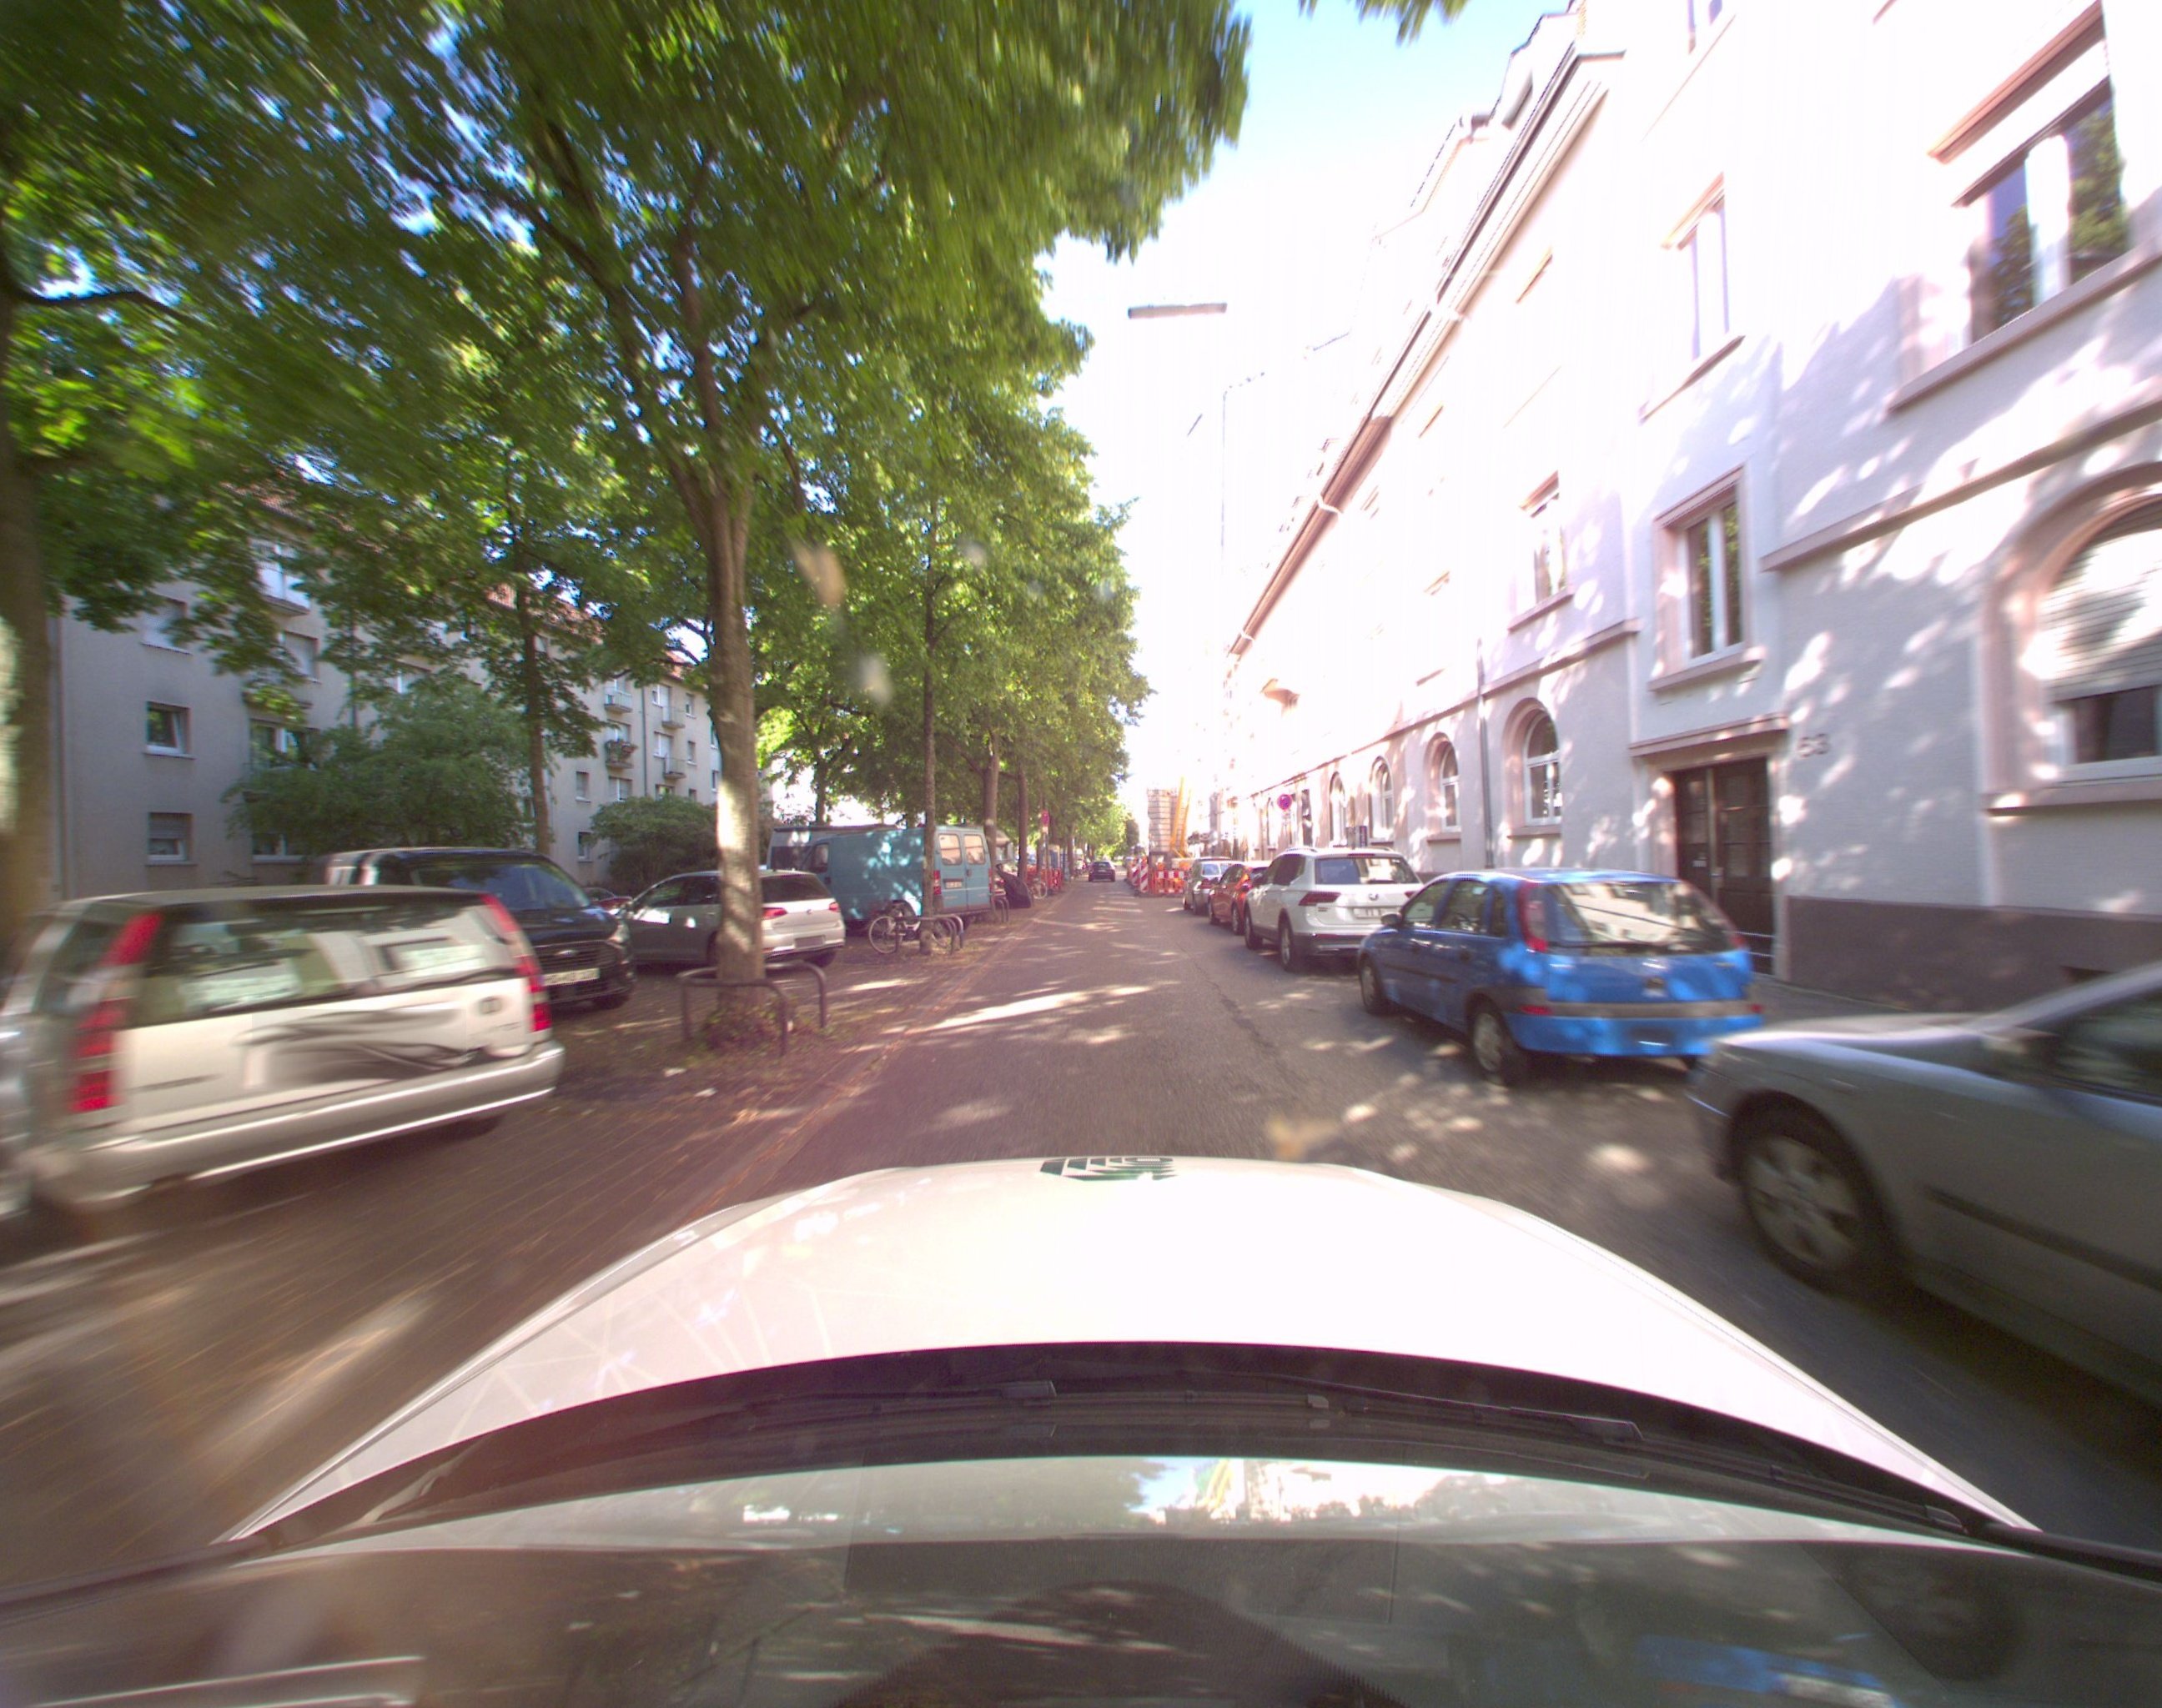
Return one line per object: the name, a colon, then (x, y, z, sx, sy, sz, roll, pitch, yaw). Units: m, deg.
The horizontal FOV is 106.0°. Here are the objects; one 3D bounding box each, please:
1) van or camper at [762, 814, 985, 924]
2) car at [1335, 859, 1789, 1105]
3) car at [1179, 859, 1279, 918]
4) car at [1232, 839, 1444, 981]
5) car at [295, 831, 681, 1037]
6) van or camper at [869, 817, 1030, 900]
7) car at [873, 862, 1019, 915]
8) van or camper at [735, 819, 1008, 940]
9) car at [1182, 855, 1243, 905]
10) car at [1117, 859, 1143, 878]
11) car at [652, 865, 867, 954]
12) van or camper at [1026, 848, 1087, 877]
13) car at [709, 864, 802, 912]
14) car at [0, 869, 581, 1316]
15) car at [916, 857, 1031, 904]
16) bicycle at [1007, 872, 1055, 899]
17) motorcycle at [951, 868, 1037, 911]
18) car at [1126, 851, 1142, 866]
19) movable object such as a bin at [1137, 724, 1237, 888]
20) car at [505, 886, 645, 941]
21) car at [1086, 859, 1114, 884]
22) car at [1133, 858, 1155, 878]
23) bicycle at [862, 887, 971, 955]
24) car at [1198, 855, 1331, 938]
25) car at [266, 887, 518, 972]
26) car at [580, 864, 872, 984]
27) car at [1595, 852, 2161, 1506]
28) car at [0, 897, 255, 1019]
van or camper: (-5.633, 0.437, 21.820, 5.811, 2.637, 2.269, -2, 0, 31)
car: (3.461, 0.776, 6.766, 1.611, 1.413, 3.789, -2, 0, 2)
car: (3.972, 0.878, 22.619, 1.987, 1.409, 4.501, -1, 0, 1)
car: (3.551, 0.682, 12.213, 1.809, 1.674, 4.675, -2, 0, 2)
car: (-6.607, 0.733, 8.937, 4.501, 1.764, 1.822, -2, 0, 32)
van or camper: (-5.681, 0.263, 34.935, 6.592, 3.241, 2.511, -2, 0, 30)
car: (-4.006, 1.027, 24.121, 3.915, 1.414, 1.834, -2, -1, 29)
van or camper: (-4.542, 0.567, 17.539, 5.447, 2.275, 2.233, -2, 0, 25)
car: (4.331, 0.832, 27.176, 1.586, 1.531, 2.781, -1, 0, 1)
car: (3.772, 1.106, 63.072, 1.791, 1.385, 3.586, -2, 0, 1)
car: (-6.097, 0.988, 15.335, 3.947, 1.431, 1.732, -2, 0, 32)
van or camper: (-2.298, 0.824, 76.531, 5.280, 2.474, 2.308, -2, 0, 34)
car: (-14.034, 1.420, 35.488, 1.810, 1.803, 4.849, -3, 0, 3)
car: (-4.898, 0.871, 4.688, 4.431, 1.443, 1.743, -2, 0, 34)
car: (-4.074, 1.002, 30.923, 3.916, 1.629, 1.834, -2, -1, 27)
bicycle: (-1.969, 1.240, 32.119, 1.879, 1.006, 0.433, -2, -1, 25)
motorcycle: (-2.722, 1.120, 25.685, 2.534, 1.258, 0.765, -2, -1, 9)
car: (6.736, 0.557, 104.049, 1.791, 1.800, 3.586, -2, 0, 1)
movable object such as a bin: (4.620, -1.944, 35.572, 3.445, 6.760, 2.383, -2, -1, 34)
car: (-14.386, 1.641, 23.399, 1.611, 1.275, 3.669, -2, 0, 2)
car: (1.291, 1.162, 55.407, 1.791, 1.503, 3.586, -2, 0, 1)
car: (5.977, 1.285, 77.455, 1.791, 1.800, 3.586, -2, 0, 1)
bicycle: (-2.777, 1.117, 13.810, 1.729, 1.006, 0.507, -2, -1, -29)
car: (3.788, 0.807, 17.491, 1.786, 1.523, 3.960, -2, 0, -3)
car: (-14.763, 1.535, 17.847, 1.657, 1.424, 4.364, -2, 0, 2)
car: (-5.166, 0.926, 11.784, 3.905, 1.443, 1.858, -2, 0, 30)
car: (3.195, 0.720, 1.723, 1.625, 1.413, 4.088, -2, 0, 0)
car: (-14.882, 1.465, 11.637, 1.657, 1.424, 4.298, -2, 0, 2)
